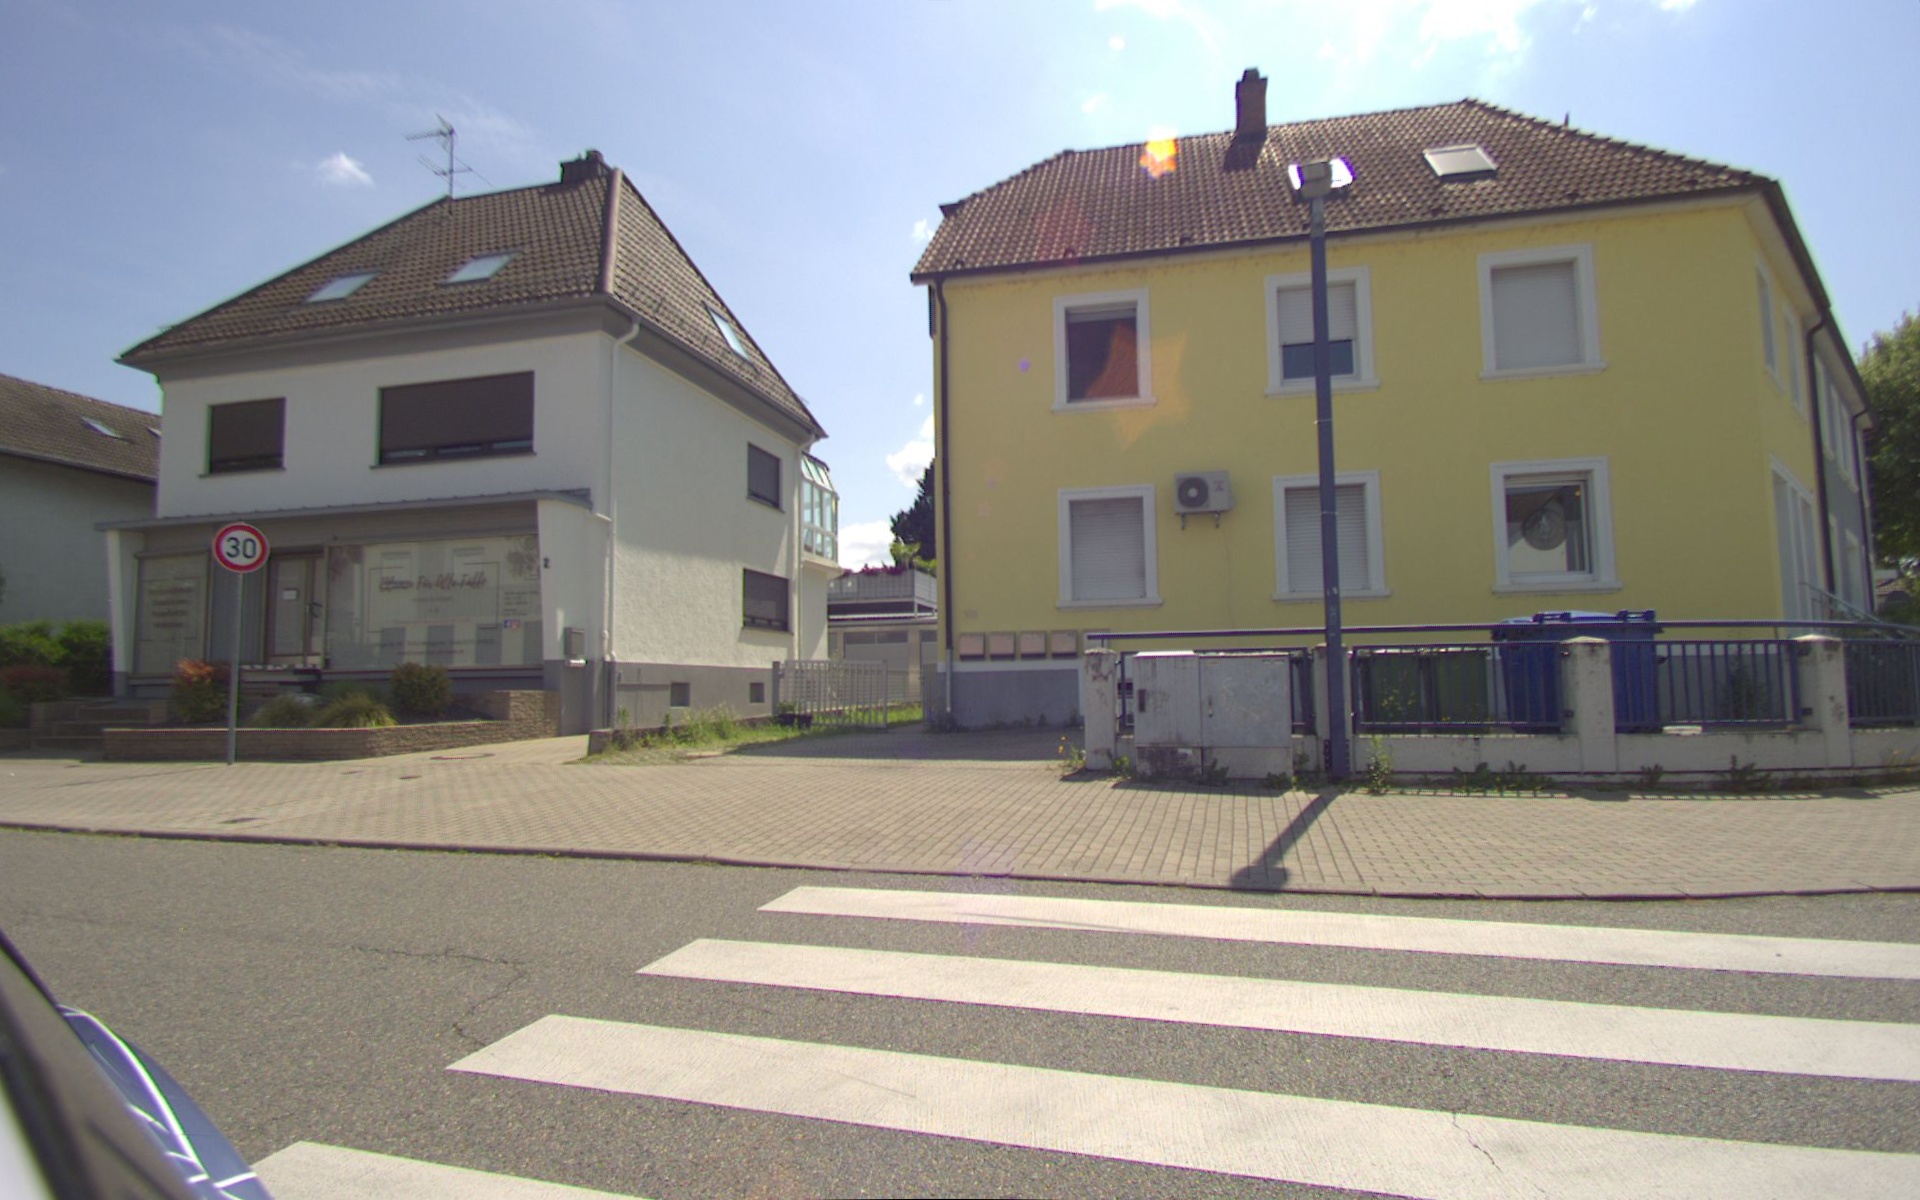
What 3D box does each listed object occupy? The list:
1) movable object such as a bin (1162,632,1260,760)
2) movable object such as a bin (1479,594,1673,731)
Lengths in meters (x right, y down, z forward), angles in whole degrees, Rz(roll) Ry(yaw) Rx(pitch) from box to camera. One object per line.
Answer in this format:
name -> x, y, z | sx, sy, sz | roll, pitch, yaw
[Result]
movable object such as a bin -> 2.586, 0.977, 10.390 | 0.894, 1.235, 0.883 | -2, -4, 17
movable object such as a bin -> 5.824, 0.600, 9.644 | 1.259, 1.223, 0.842 | -1, -4, 2
